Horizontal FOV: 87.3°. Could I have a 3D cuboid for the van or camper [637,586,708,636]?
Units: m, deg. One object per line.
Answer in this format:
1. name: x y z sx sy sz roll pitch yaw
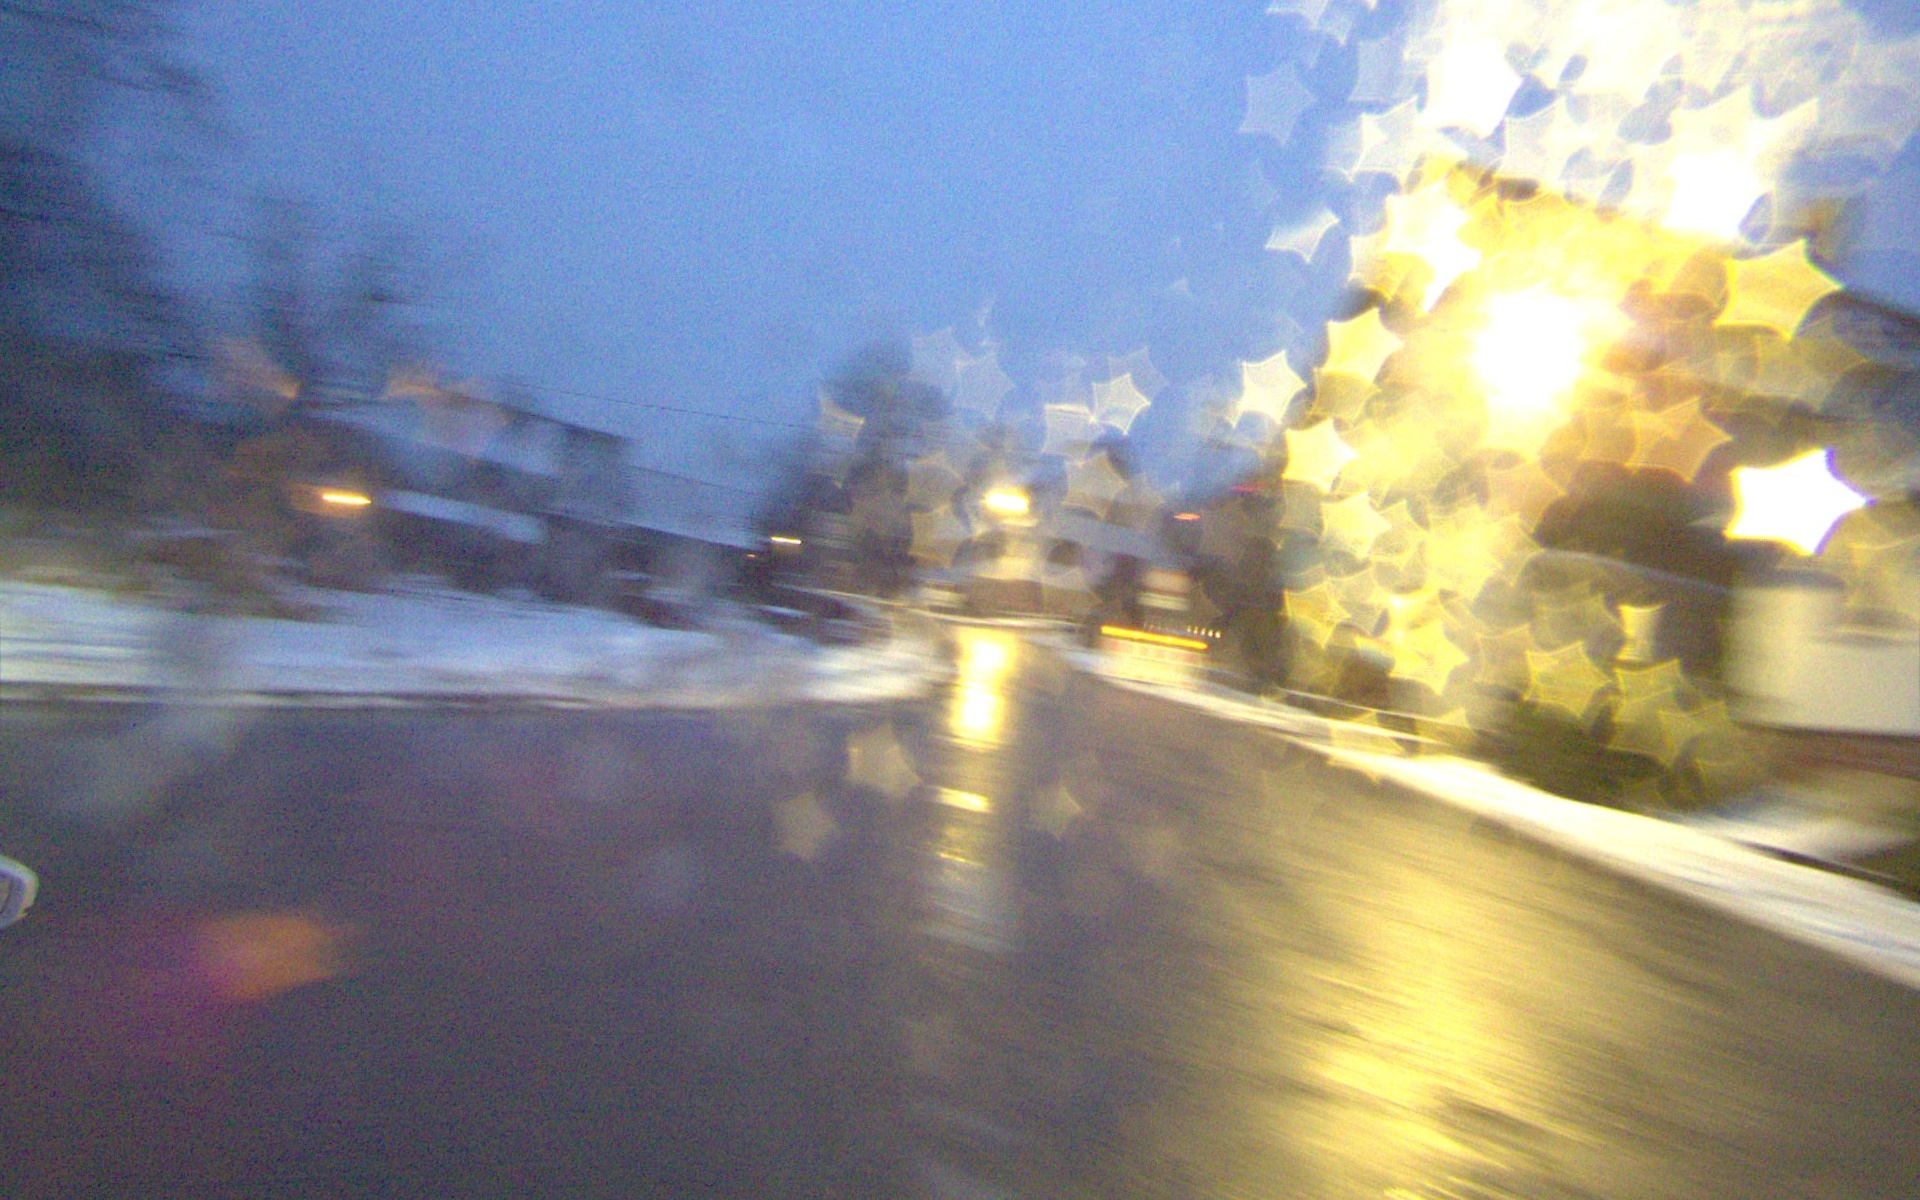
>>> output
1. van or camper: -8.057 0.292 28.051 1.273 1.112 3.255 11 -4 -25
